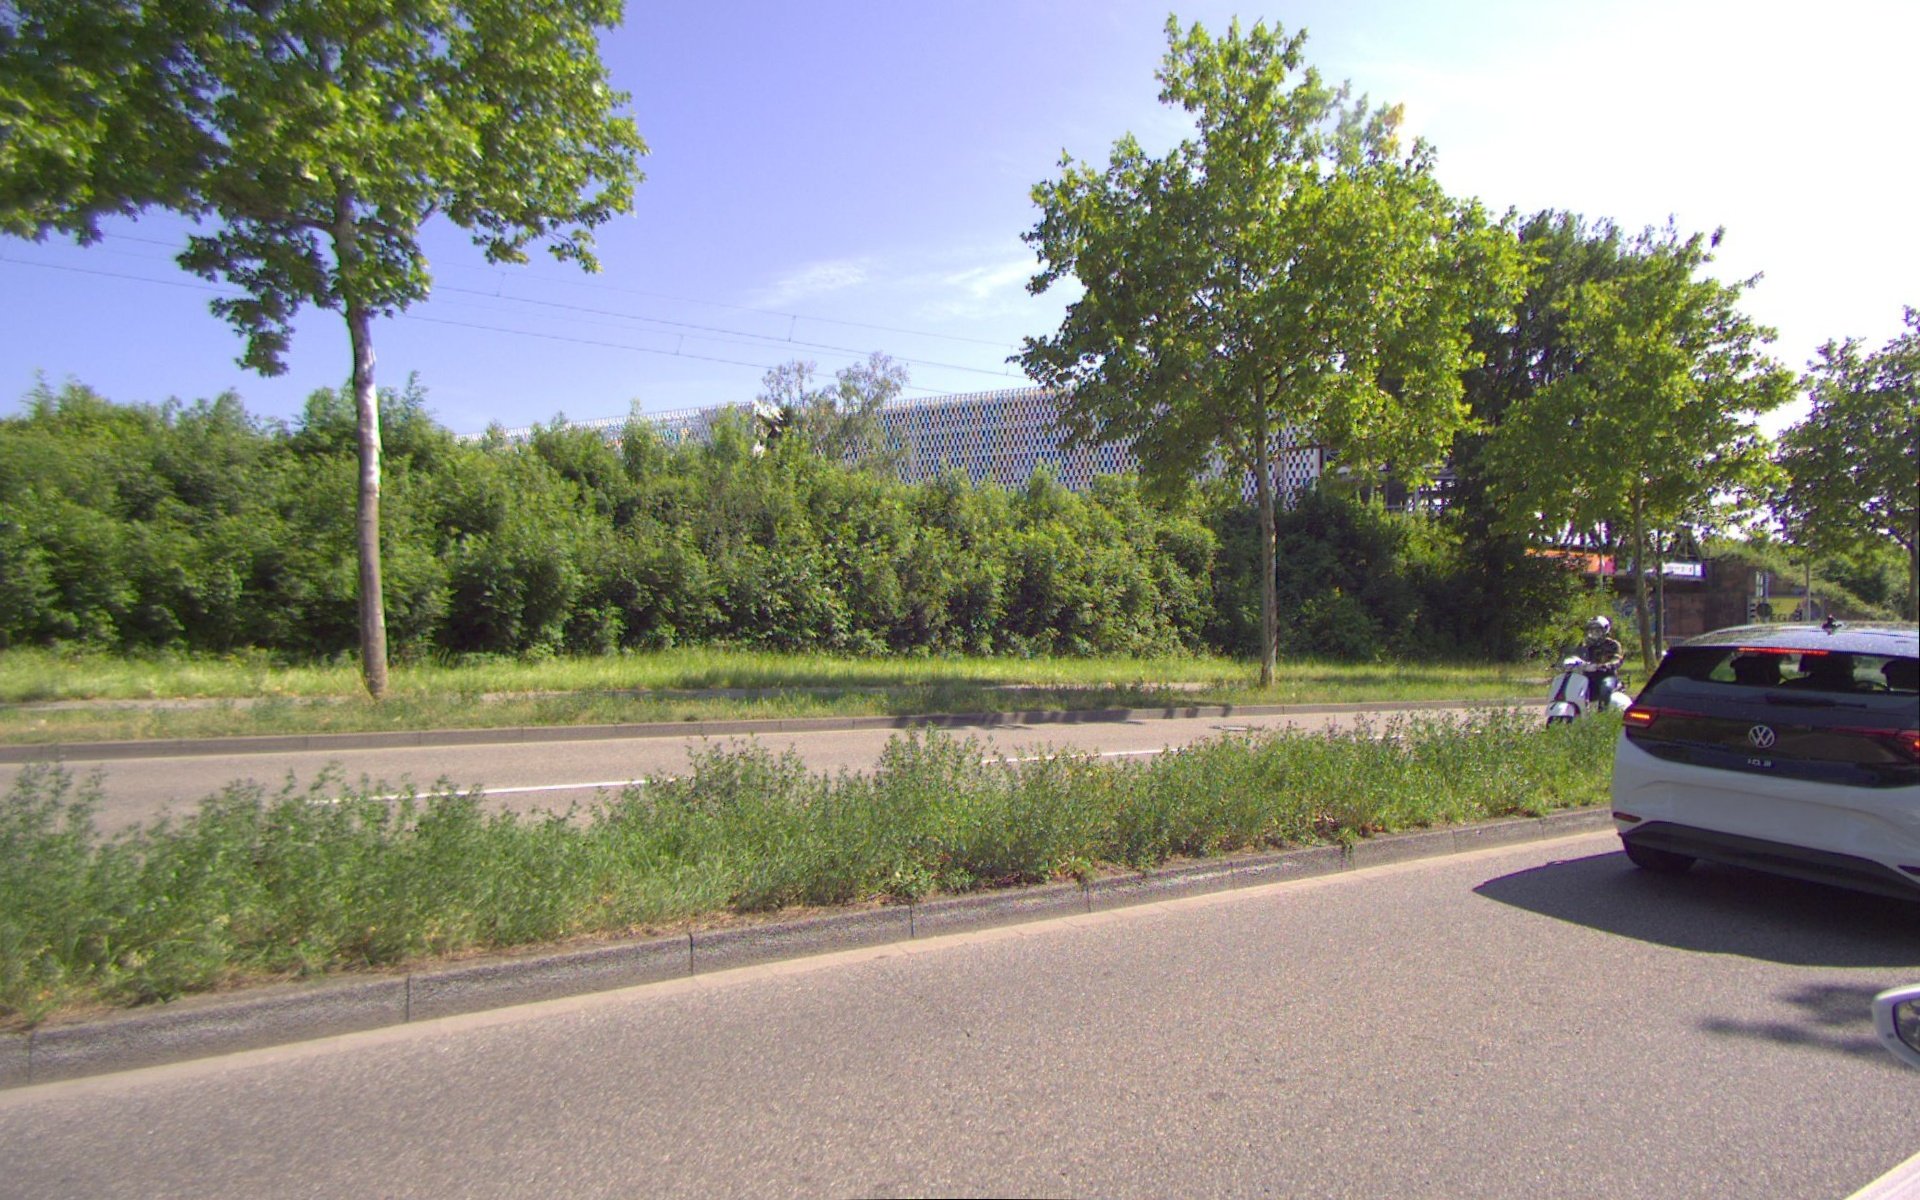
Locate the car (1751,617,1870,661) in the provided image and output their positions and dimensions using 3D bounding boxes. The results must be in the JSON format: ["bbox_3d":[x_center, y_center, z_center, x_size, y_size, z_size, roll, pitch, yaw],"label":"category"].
[{"bbox_3d":[50.621,2.301,59.921,5.042,2.450,1.998,1,-1,26],"label":"car"}]

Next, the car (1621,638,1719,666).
[{"bbox_3d":[36.889,2.674,52.319,3.927,1.363,1.880,0,-2,28],"label":"car"}]

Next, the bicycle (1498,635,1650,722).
[{"bbox_3d":[8.084,1.008,13.199,2.190,1.043,0.725,2,0,-30],"label":"bicycle"}]

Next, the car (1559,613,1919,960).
[{"bbox_3d":[5.790,0.904,6.186,4.158,1.541,1.811,2,-1,-30],"label":"car"}]

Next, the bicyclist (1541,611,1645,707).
[{"bbox_3d":[8.433,0.771,13.385,1.089,1.206,0.725,2,0,-30],"label":"bicyclist"}]

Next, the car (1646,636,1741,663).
[{"bbox_3d":[42.432,2.873,58.211,4.251,1.445,1.485,0,-2,27],"label":"car"}]
